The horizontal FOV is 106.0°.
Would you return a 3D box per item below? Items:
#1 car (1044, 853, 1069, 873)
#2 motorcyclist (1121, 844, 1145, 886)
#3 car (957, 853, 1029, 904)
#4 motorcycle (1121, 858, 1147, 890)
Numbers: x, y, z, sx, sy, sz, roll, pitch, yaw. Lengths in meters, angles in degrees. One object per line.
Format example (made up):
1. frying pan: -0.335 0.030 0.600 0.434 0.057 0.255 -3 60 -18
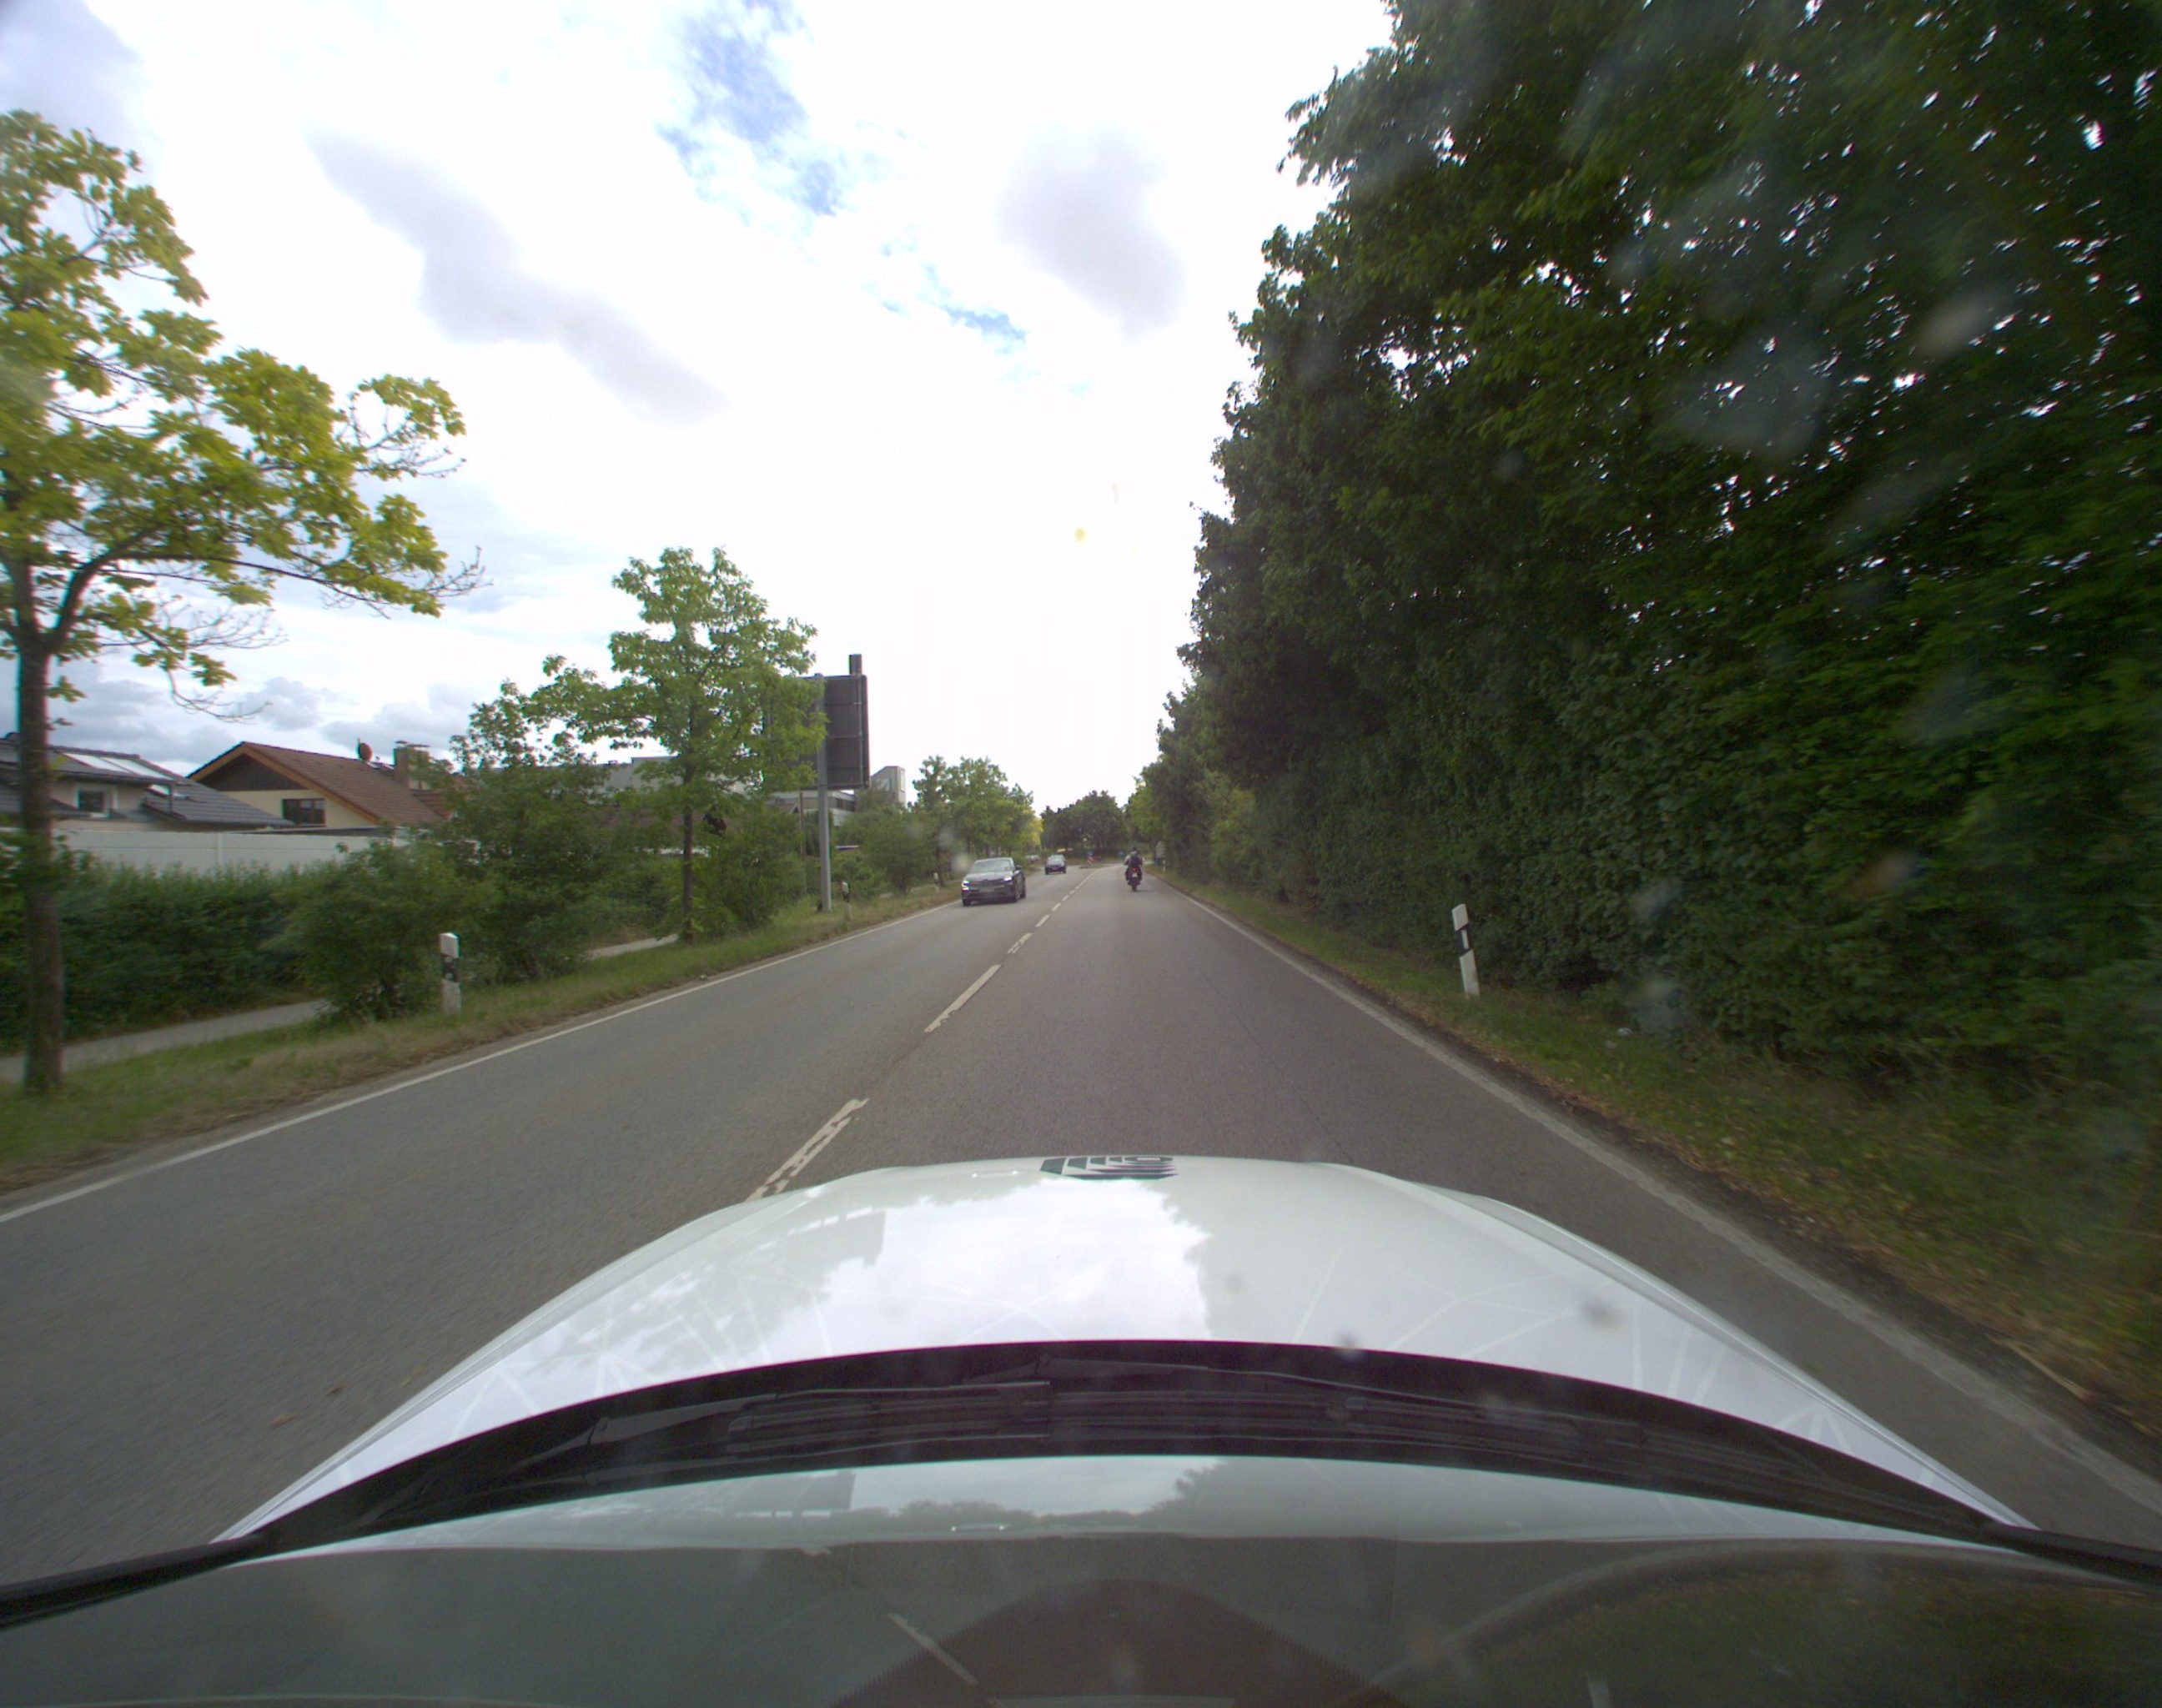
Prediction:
1. car: -1.985 0.725 67.129 1.670 1.411 4.014 -4 0 2
2. motorcyclist: 2.066 0.420 32.540 0.858 1.623 1.191 -2 0 2
3. car: -2.935 0.786 28.009 1.809 1.494 4.206 -3 0 2
4. motorcycle: 2.091 0.767 32.477 0.893 1.158 2.621 -2 0 2
